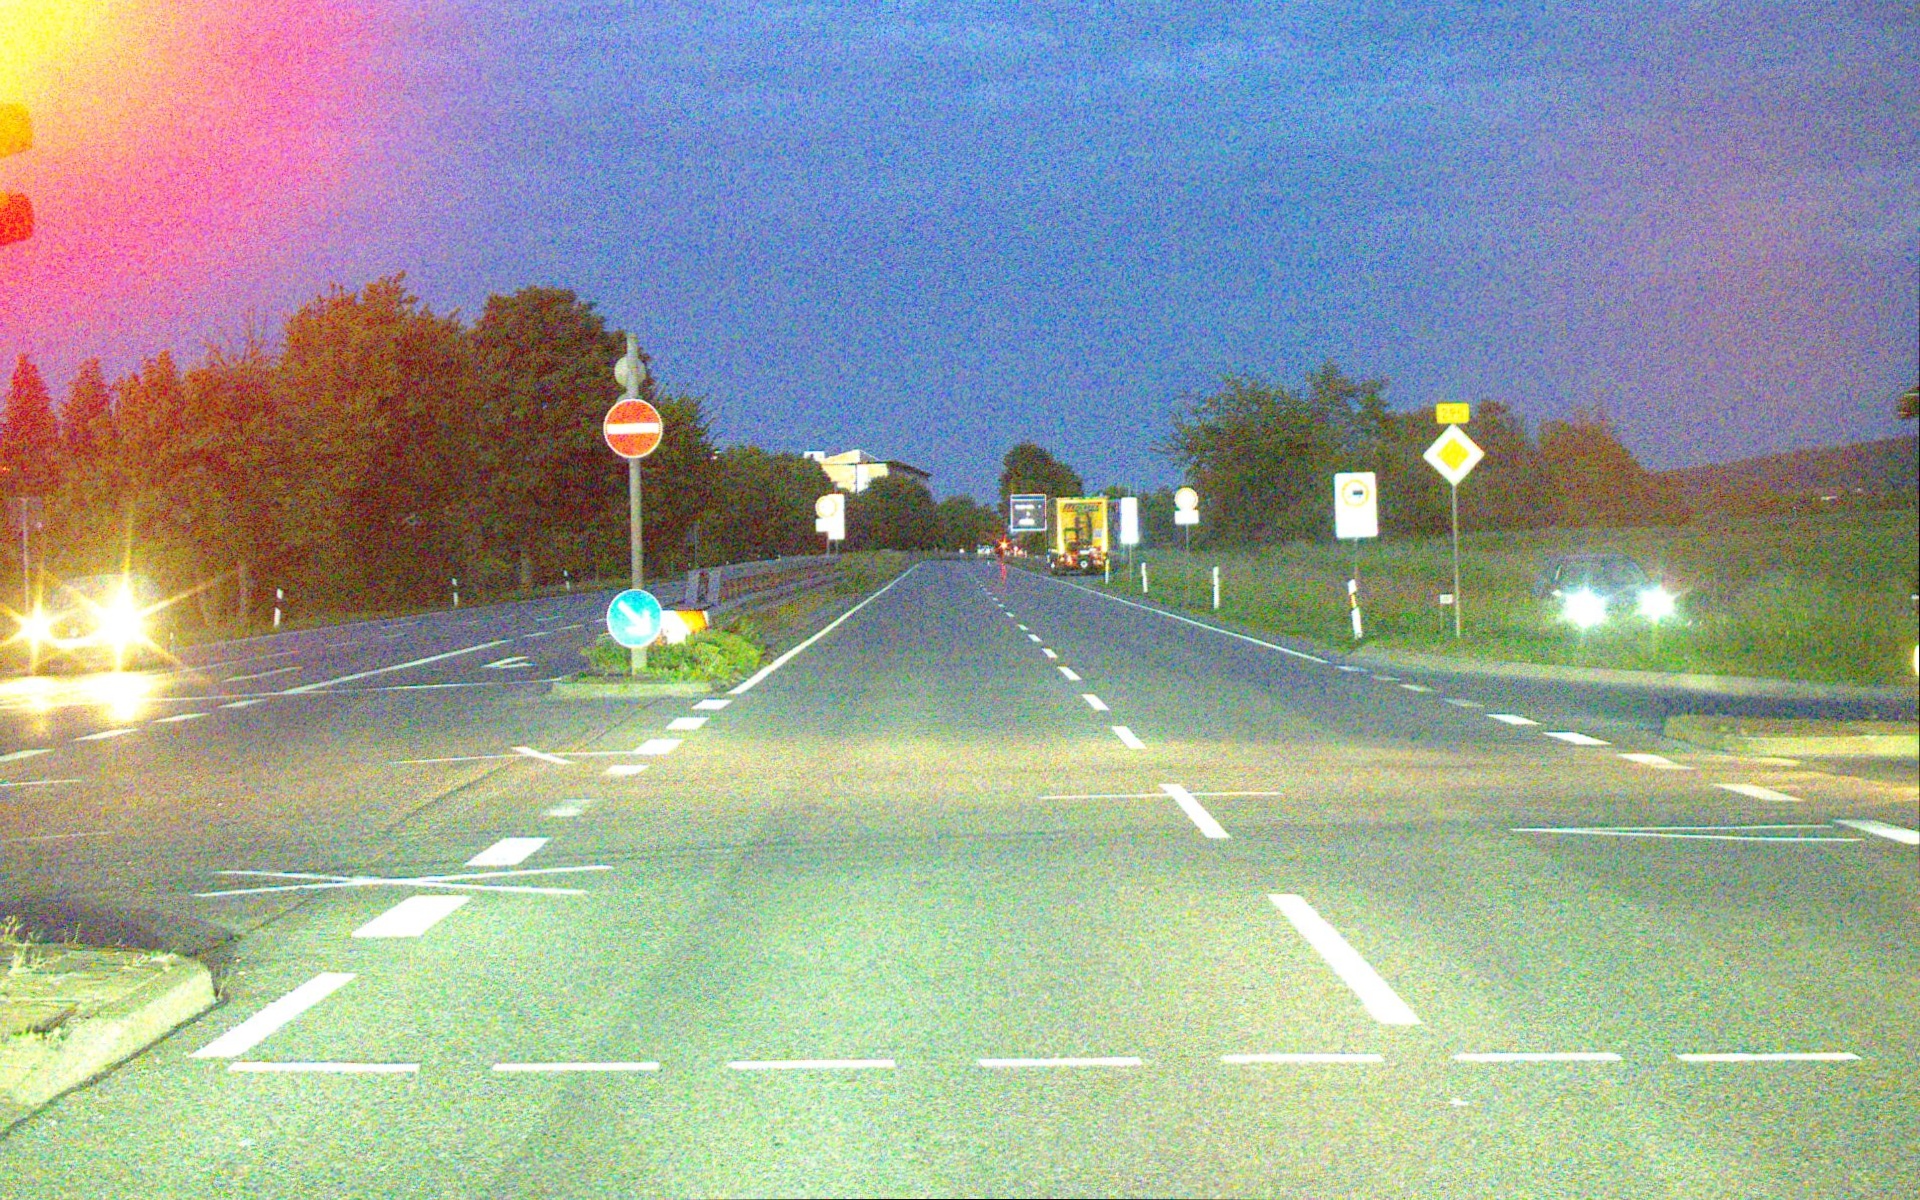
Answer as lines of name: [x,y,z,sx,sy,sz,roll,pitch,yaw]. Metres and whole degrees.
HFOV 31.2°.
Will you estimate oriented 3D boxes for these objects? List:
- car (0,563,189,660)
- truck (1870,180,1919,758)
car: [-13.334,0.146,53.085,1.993,1.382,4.000,-1,1,-1]
truck: [11.636,-0.980,23.432,10.038,3.965,2.925,-1,1,-3]
